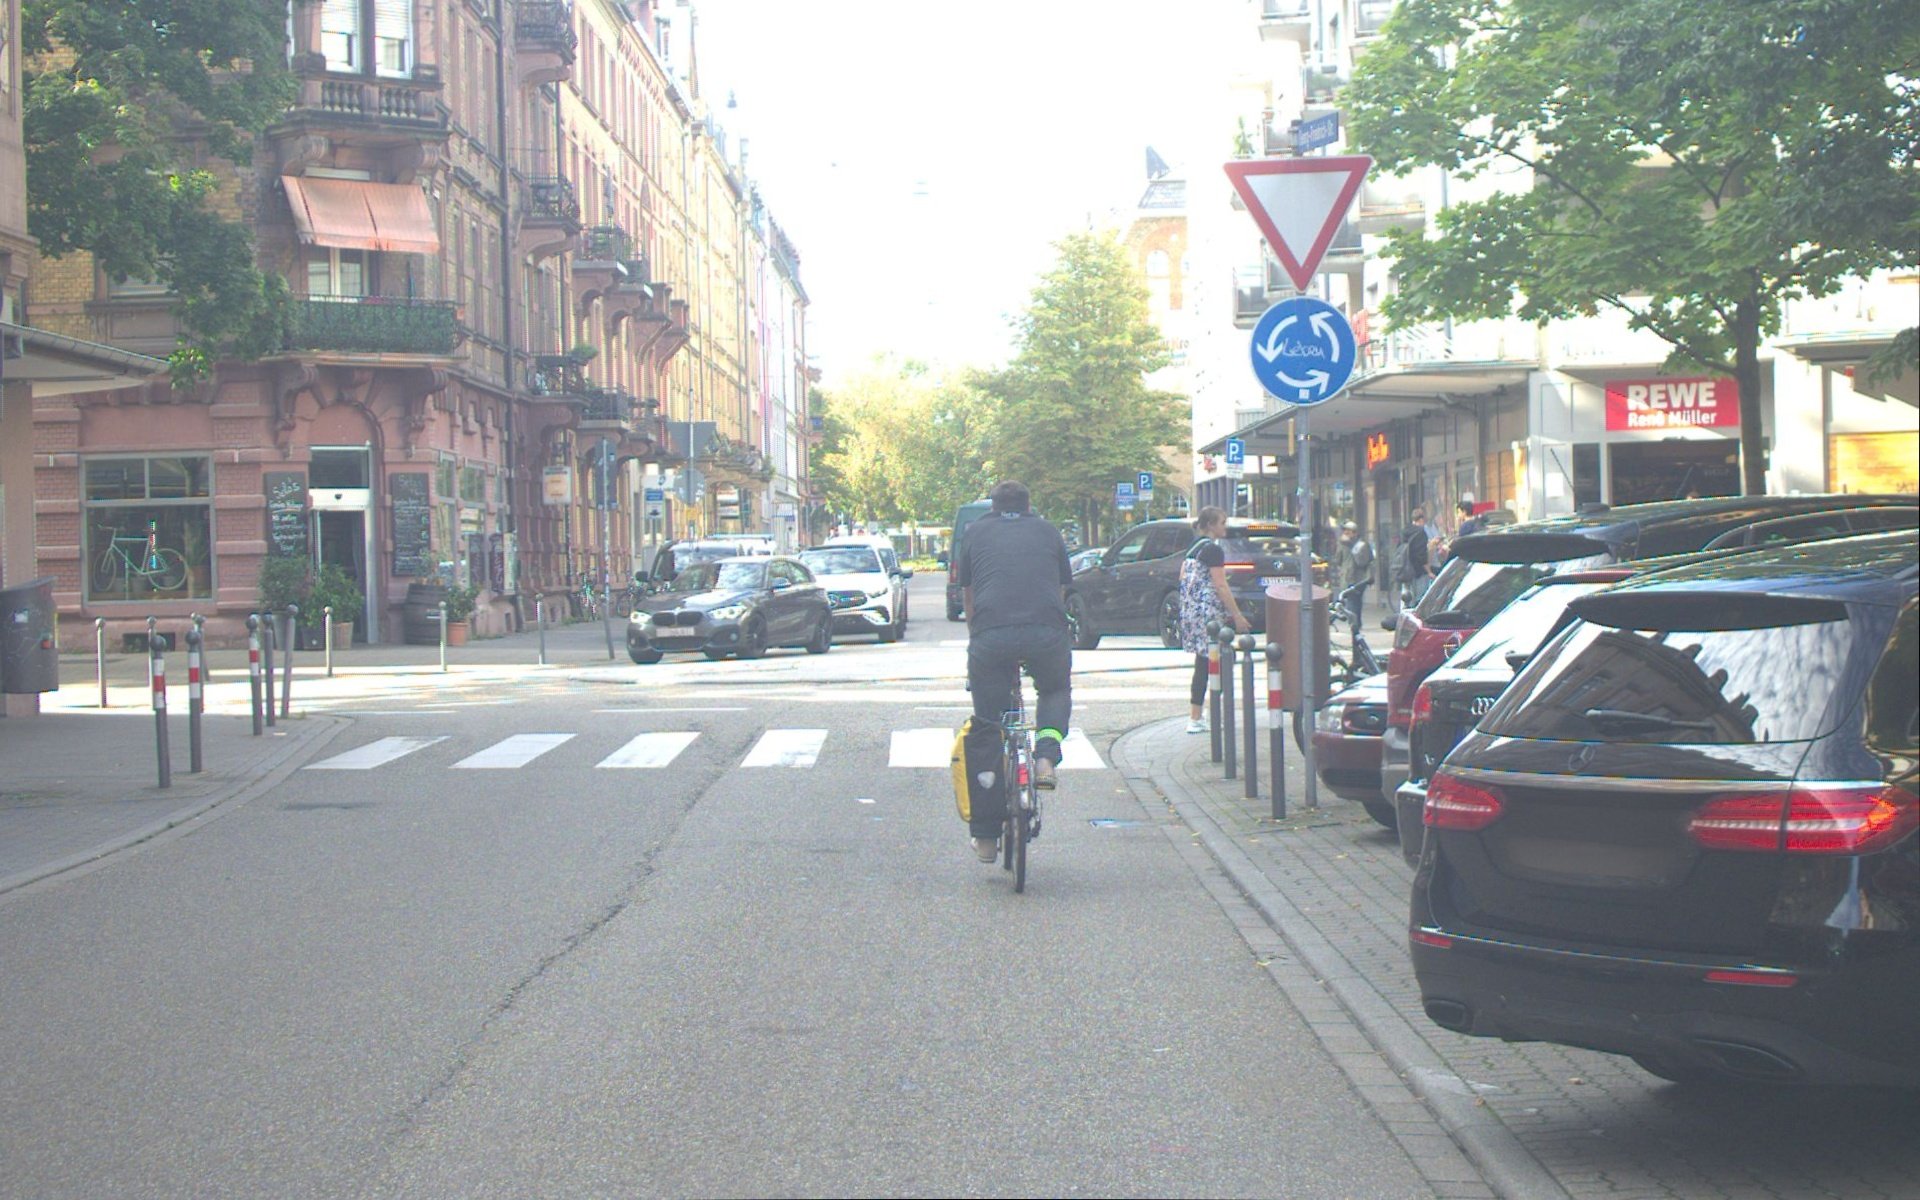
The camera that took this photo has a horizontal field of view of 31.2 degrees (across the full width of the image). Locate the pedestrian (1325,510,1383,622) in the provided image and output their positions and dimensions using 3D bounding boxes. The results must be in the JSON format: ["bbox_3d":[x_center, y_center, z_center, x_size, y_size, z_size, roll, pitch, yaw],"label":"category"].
[{"bbox_3d":[5.801,-0.501,50.585,0.745,1.623,0.812,-1,1,11],"label":"pedestrian"}]

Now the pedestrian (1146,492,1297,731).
[{"bbox_3d":[1.989,0.079,26.154,0.783,1.773,0.791,-1,1,39],"label":"pedestrian"}]

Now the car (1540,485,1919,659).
[{"bbox_3d":[8.901,-0.304,36.962,4.841,1.718,2.038,-1,3,42],"label":"car"}]

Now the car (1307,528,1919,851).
[{"bbox_3d":[3.939,0.383,17.687,3.931,1.452,1.770,-2,1,-28],"label":"car"}]

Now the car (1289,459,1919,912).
[{"bbox_3d":[3.822,0.238,15.052,4.340,1.639,1.822,-4,2,-26],"label":"car"}]

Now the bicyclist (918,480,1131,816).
[{"bbox_3d":[0.283,0.206,15.510,0.933,1.478,0.747,0,1,0],"label":"bicyclist"}]

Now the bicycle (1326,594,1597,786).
[{"bbox_3d":[2.893,0.515,20.025,0.459,1.036,1.857,-5,2,-29],"label":"bicycle"}]

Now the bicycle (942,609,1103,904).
[{"bbox_3d":[0.255,0.649,15.442,0.665,1.174,2.497,0,1,0],"label":"bicycle"}]

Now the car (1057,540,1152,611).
[{"bbox_3d":[3.213,-0.575,77.069,1.993,1.481,4.000,-2,1,1],"label":"car"}]

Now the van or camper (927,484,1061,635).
[{"bbox_3d":[0.674,-0.864,72.440,2.531,3.027,4.459,-1,1,-2],"label":"van or camper"}]

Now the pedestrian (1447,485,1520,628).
[{"bbox_3d":[6.886,-0.569,45.238,0.869,1.845,0.612,-1,1,5],"label":"pedestrian"}]

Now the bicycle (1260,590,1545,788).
[{"bbox_3d":[2.507,0.501,19.702,0.548,1.036,1.857,-5,2,-29],"label":"bicycle"}]

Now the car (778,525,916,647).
[{"bbox_3d":[-1.811,-0.271,56.589,1.942,1.716,4.850,-3,2,1],"label":"car"}]

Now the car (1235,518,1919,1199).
[{"bbox_3d":[3.321,0.499,9.080,4.753,1.452,2.057,-4,3,-28],"label":"car"}]

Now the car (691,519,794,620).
[{"bbox_3d":[-4.540,-0.658,72.208,1.993,2.007,4.000,-2,1,-2],"label":"car"}]

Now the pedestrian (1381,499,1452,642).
[{"bbox_3d":[6.013,-0.394,45.322,0.869,1.845,0.612,-1,1,5],"label":"pedestrian"}]

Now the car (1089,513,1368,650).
[{"bbox_3d":[3.352,-0.252,43.662,1.993,1.612,4.001,-2,1,-20],"label":"car"}]

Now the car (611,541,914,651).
[{"bbox_3d":[-2.642,-0.062,46.795,1.754,1.431,4.202,0,0,39],"label":"car"}]

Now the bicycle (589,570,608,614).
[{"bbox_3d":[-7.908,-0.176,75.163,0.360,0.944,1.716,-1,1,-5],"label":"bicycle"}]

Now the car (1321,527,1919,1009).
[{"bbox_3d":[3.720,0.462,12.390,4.400,1.452,1.943,-2,1,-24],"label":"car"}]
